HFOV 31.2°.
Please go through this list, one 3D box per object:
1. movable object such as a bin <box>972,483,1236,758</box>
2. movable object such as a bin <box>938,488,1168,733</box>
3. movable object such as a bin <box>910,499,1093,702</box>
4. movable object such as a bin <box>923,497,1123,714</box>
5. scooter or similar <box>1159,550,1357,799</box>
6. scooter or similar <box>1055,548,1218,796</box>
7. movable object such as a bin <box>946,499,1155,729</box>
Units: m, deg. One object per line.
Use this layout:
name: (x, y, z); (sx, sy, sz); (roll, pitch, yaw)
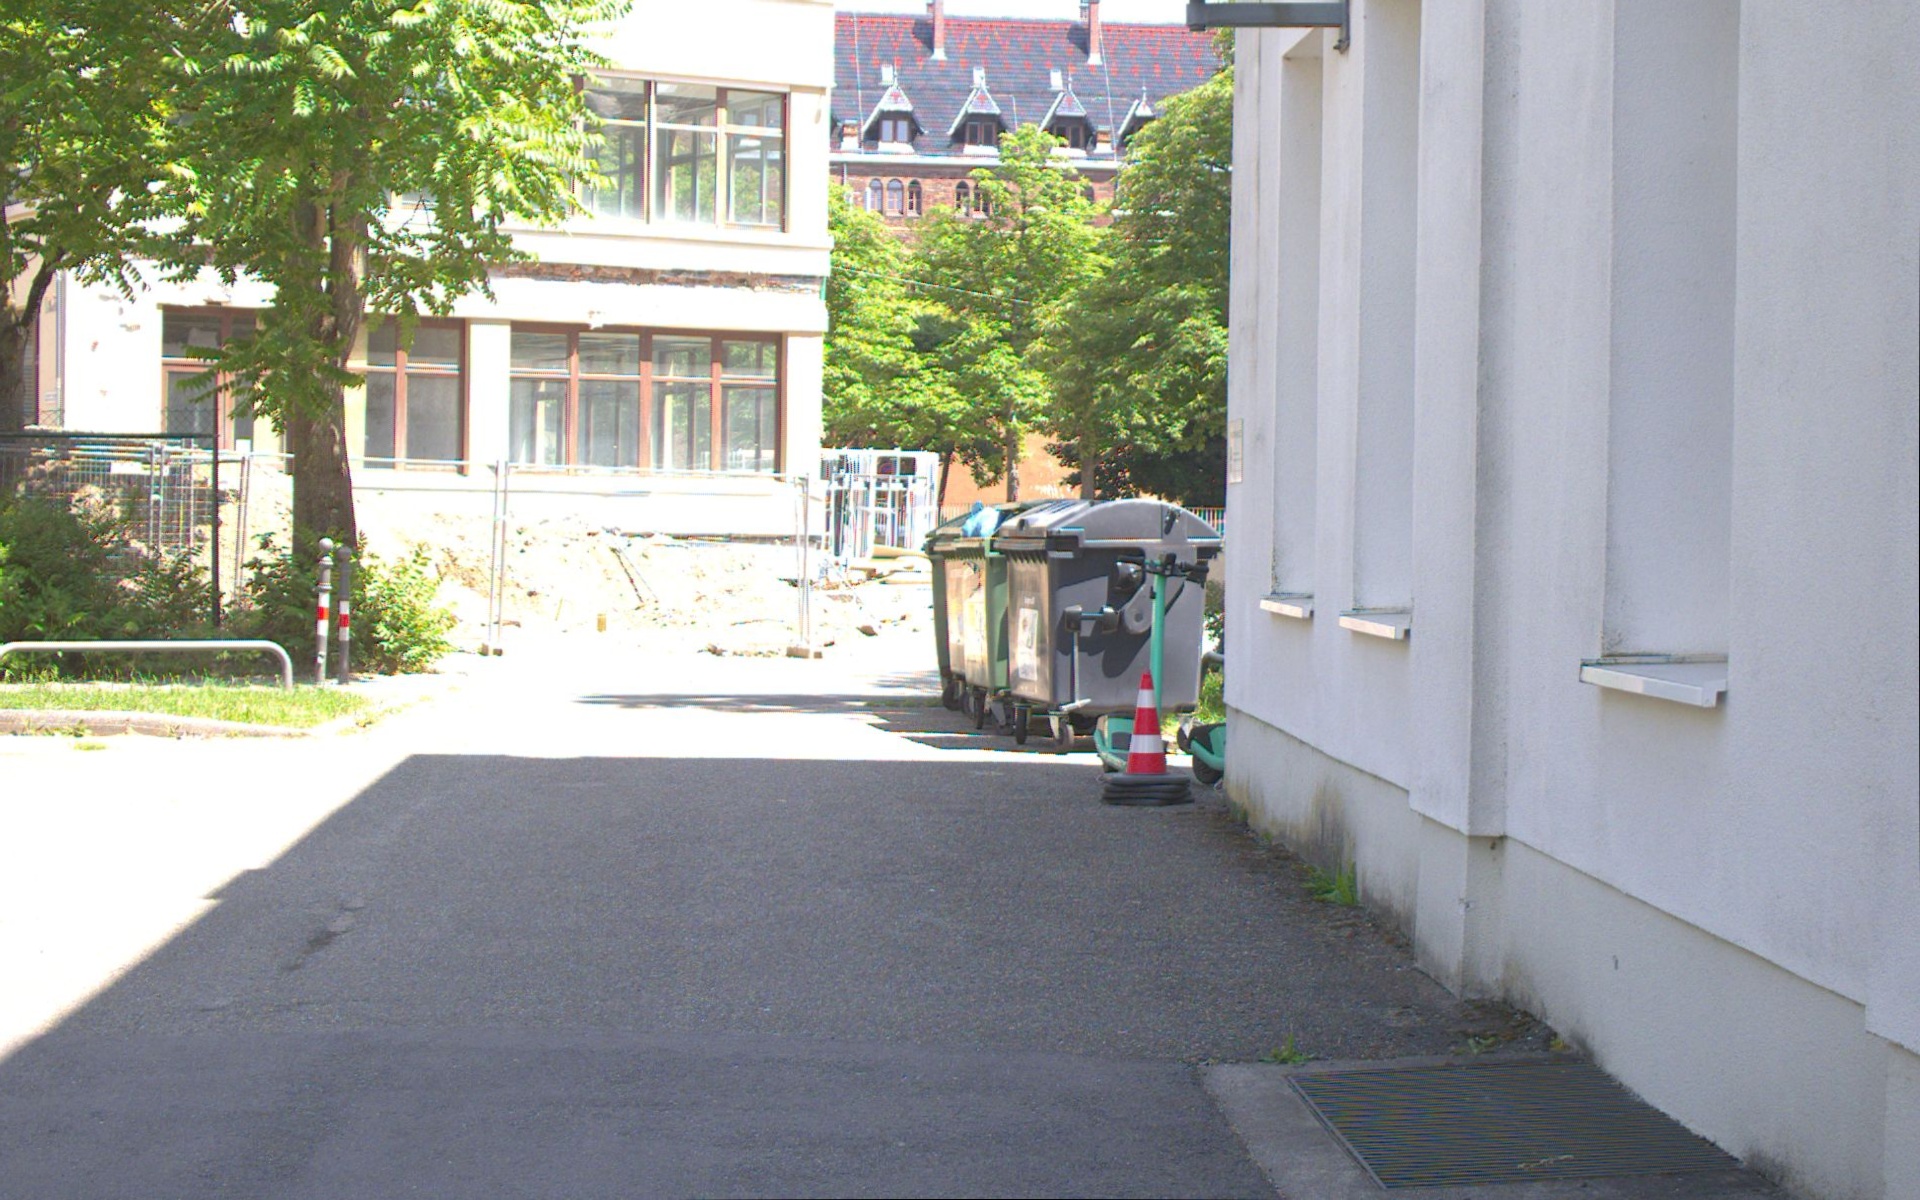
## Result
movable object such as a bin: (0.809, 0.108, 19.810); (1.154, 1.500, 1.463); (1, 0, -12)
movable object such as a bin: (0.563, 0.061, 21.534); (1.178, 1.465, 1.312); (1, 0, -9)
movable object such as a bin: (0.329, -0.002, 25.894); (1.179, 1.465, 1.332); (1, 0, 8)
movable object such as a bin: (0.432, 0.033, 24.357); (1.178, 1.465, 1.312); (1, 0, -8)
scooter or similar: (1.460, 0.347, 17.021); (0.463, 1.170, 1.256); (1, 1, -20)
scooter or similar: (0.865, 0.336, 17.135); (0.463, 1.170, 1.357); (1, 1, -12)
movable object such as a bin: (0.586, 0.085, 22.922); (1.178, 1.465, 1.312); (1, 0, -7)
